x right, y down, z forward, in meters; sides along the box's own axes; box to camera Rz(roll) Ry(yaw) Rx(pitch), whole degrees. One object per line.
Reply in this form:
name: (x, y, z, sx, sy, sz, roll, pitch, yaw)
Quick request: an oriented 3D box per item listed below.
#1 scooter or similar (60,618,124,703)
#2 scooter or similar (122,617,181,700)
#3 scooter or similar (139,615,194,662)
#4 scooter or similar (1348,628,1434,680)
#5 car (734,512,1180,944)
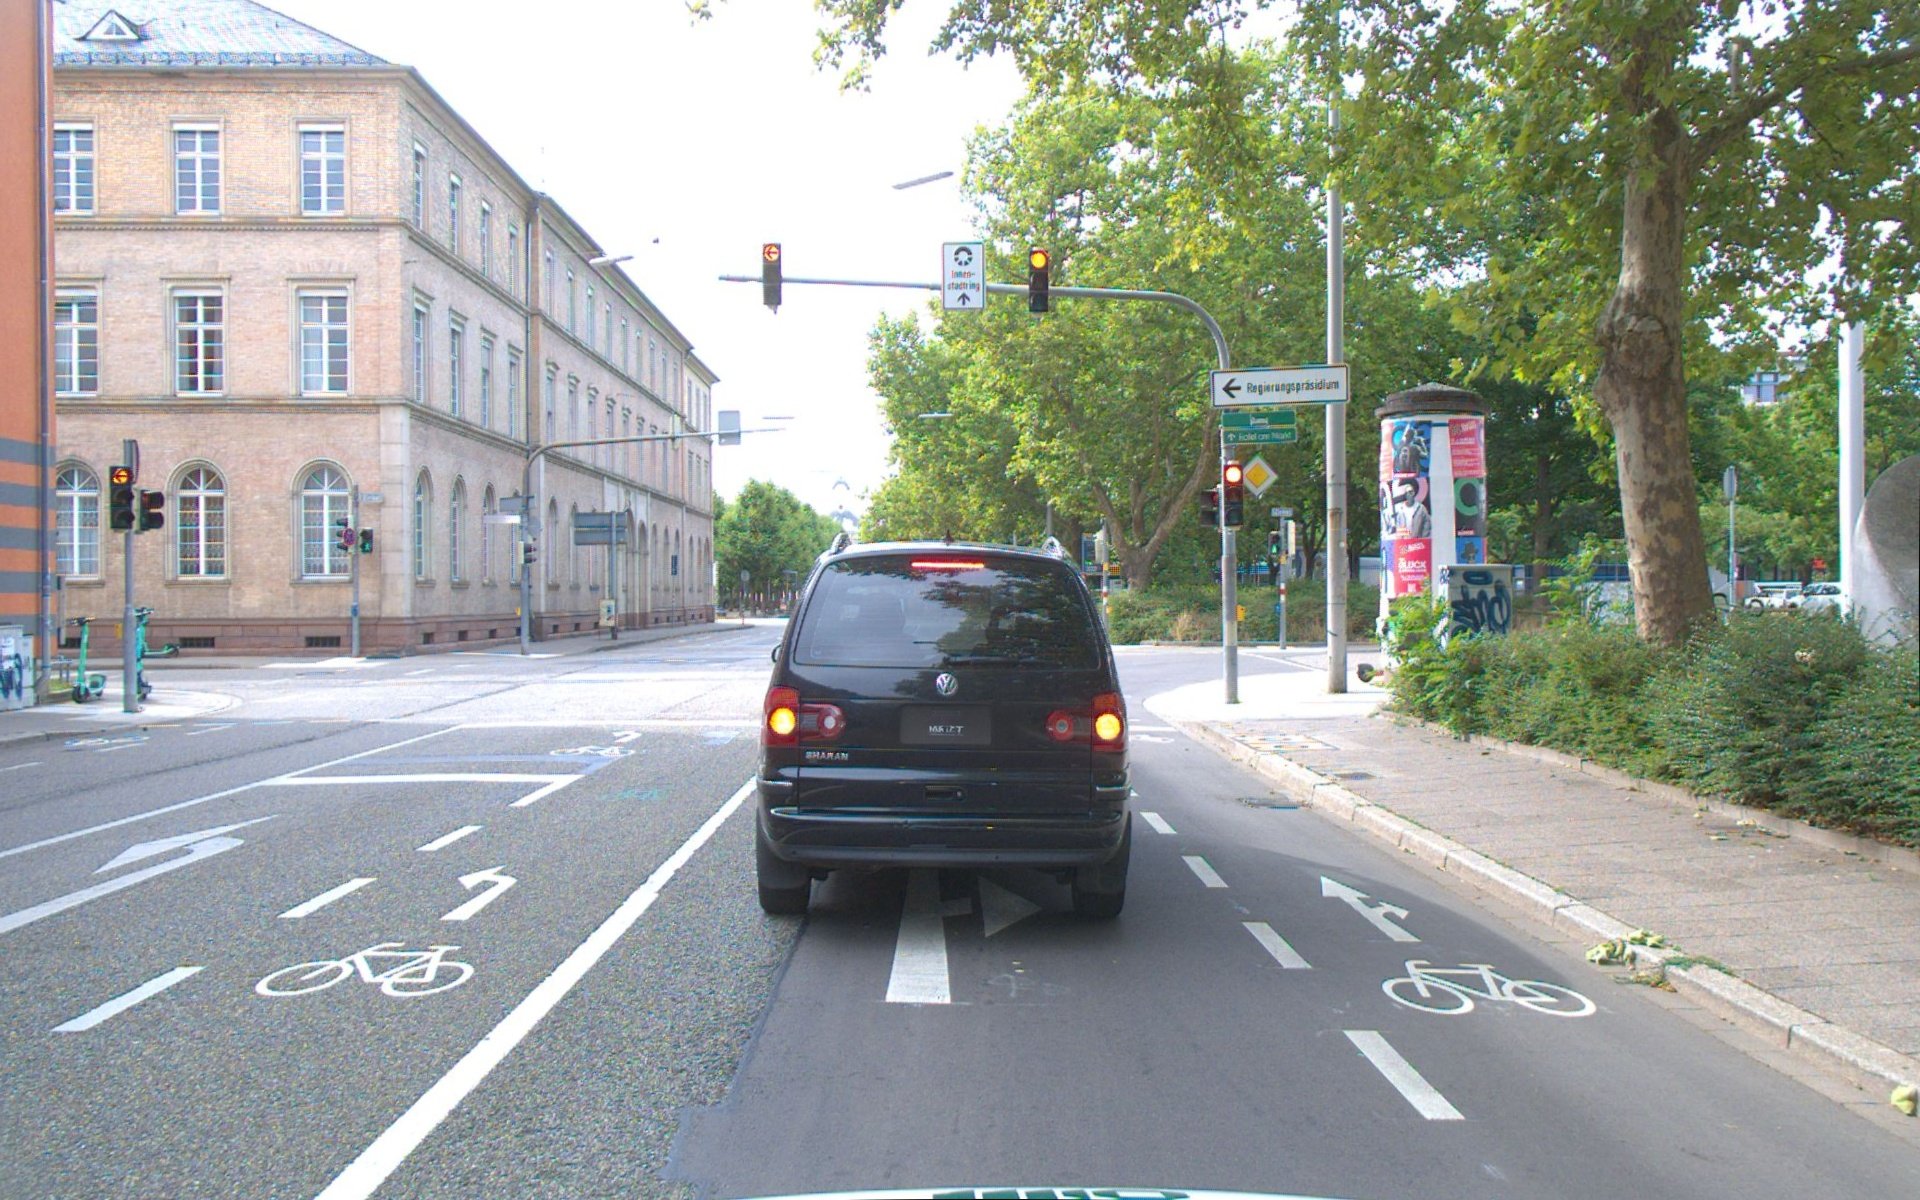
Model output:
scooter or similar: (-12.289, 0.846, 23.433, 0.370, 1.167, 1.141, 0, -1, -4)
scooter or similar: (-11.718, 0.841, 23.987, 0.370, 1.164, 1.141, 0, -1, -4)
scooter or similar: (-18.558, 0.895, 38.690, 1.115, 1.068, 0.379, -1, -1, -1)
scooter or similar: (6.521, 0.815, 25.051, 1.194, 0.749, 0.369, -1, 0, -2)
car: (0.039, 0.514, 9.120, 1.835, 1.775, 4.574, 0, 0, 1)
